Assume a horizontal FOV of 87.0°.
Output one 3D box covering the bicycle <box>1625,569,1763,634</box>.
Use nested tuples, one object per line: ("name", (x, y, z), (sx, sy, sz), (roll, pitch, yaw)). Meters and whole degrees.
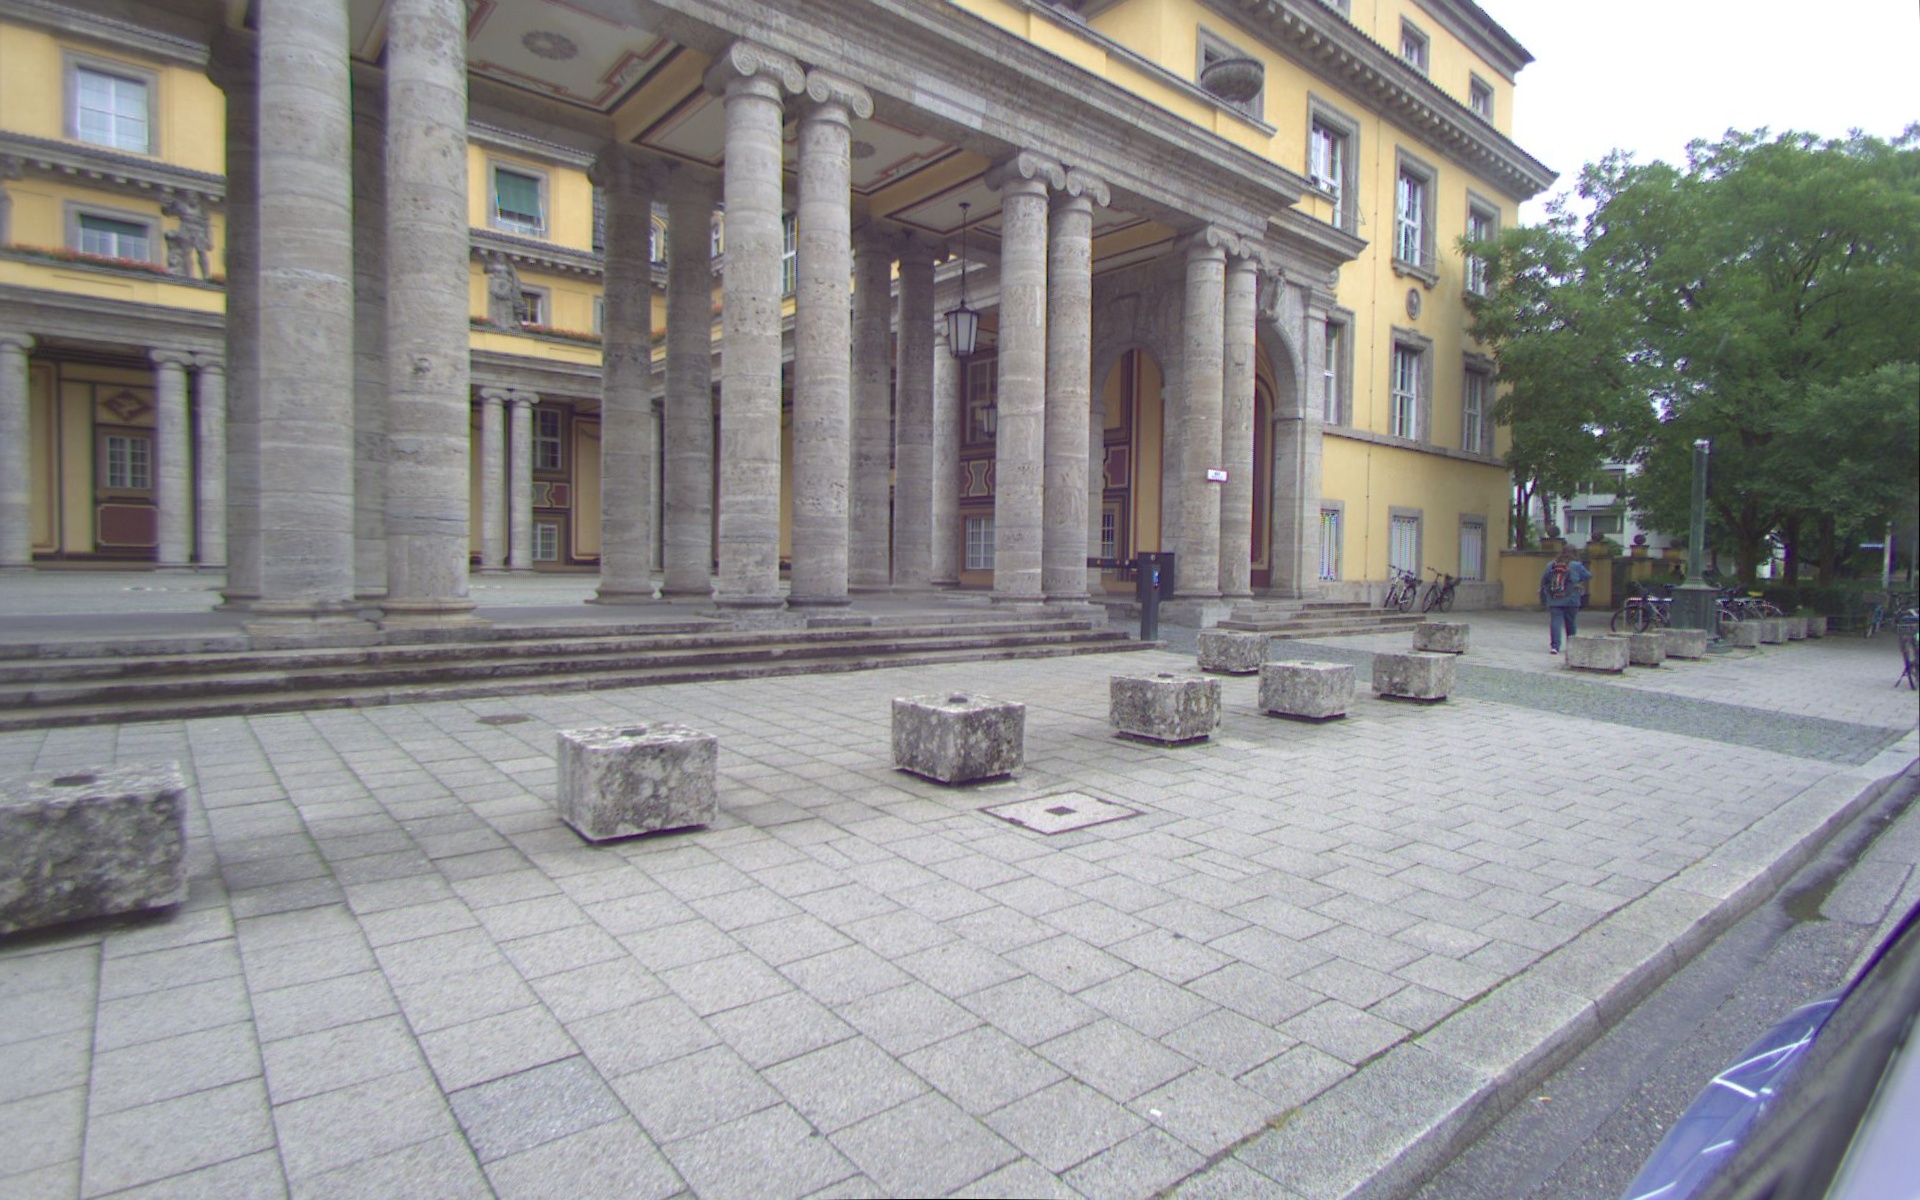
("bicycle", (15.704, 0.005, 21.703), (2.255, 1.071, 0.593), (9, 8, 39))

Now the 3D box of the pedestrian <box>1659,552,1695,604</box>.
("pedestrian", (25.545, -0.796, 36.067), (0.827, 1.764, 0.741), (-1, 6, -40))

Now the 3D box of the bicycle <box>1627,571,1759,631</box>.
("bicycle", (16.240, -0.010, 22.460), (2.255, 1.035, 0.593), (9, 8, 39))

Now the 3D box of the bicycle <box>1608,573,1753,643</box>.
("bicycle", (14.509, 0.130, 20.431), (2.255, 1.107, 0.593), (9, 8, 39))

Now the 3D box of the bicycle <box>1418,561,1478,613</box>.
("bicycle", (12.895, -0.352, 26.736), (2.127, 1.323, 0.601), (-1, 3, -41))

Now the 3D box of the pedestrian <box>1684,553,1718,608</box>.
("pedestrian", (26.015, -0.696, 35.523), (0.806, 1.887, 0.659), (-1, 6, -40))

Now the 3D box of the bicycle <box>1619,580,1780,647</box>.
("bicycle", (13.993, 0.224, 19.201), (2.362, 1.018, 0.668), (6, 5, 42))

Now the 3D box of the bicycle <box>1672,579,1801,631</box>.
("bicycle", (18.052, 0.092, 23.591), (0.591, 1.023, 2.264), (1, 4, -37))

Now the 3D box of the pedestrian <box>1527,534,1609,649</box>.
("pedestrian", (9.781, -0.160, 16.270), (1.037, 1.767, 0.789), (-1, 3, -41))

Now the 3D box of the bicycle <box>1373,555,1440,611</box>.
("bicycle", (11.142, -0.434, 25.221), (2.224, 1.323, 0.601), (-1, 3, -41))

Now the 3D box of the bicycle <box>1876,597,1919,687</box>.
("bicycle", (13.320, 0.556, 13.919), (2.225, 1.113, 0.762), (-1, 5, -41))

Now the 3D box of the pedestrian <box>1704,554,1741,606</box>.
("pedestrian", (28.294, -0.755, 37.557), (1.017, 1.887, 0.782), (-1, 6, -40))
